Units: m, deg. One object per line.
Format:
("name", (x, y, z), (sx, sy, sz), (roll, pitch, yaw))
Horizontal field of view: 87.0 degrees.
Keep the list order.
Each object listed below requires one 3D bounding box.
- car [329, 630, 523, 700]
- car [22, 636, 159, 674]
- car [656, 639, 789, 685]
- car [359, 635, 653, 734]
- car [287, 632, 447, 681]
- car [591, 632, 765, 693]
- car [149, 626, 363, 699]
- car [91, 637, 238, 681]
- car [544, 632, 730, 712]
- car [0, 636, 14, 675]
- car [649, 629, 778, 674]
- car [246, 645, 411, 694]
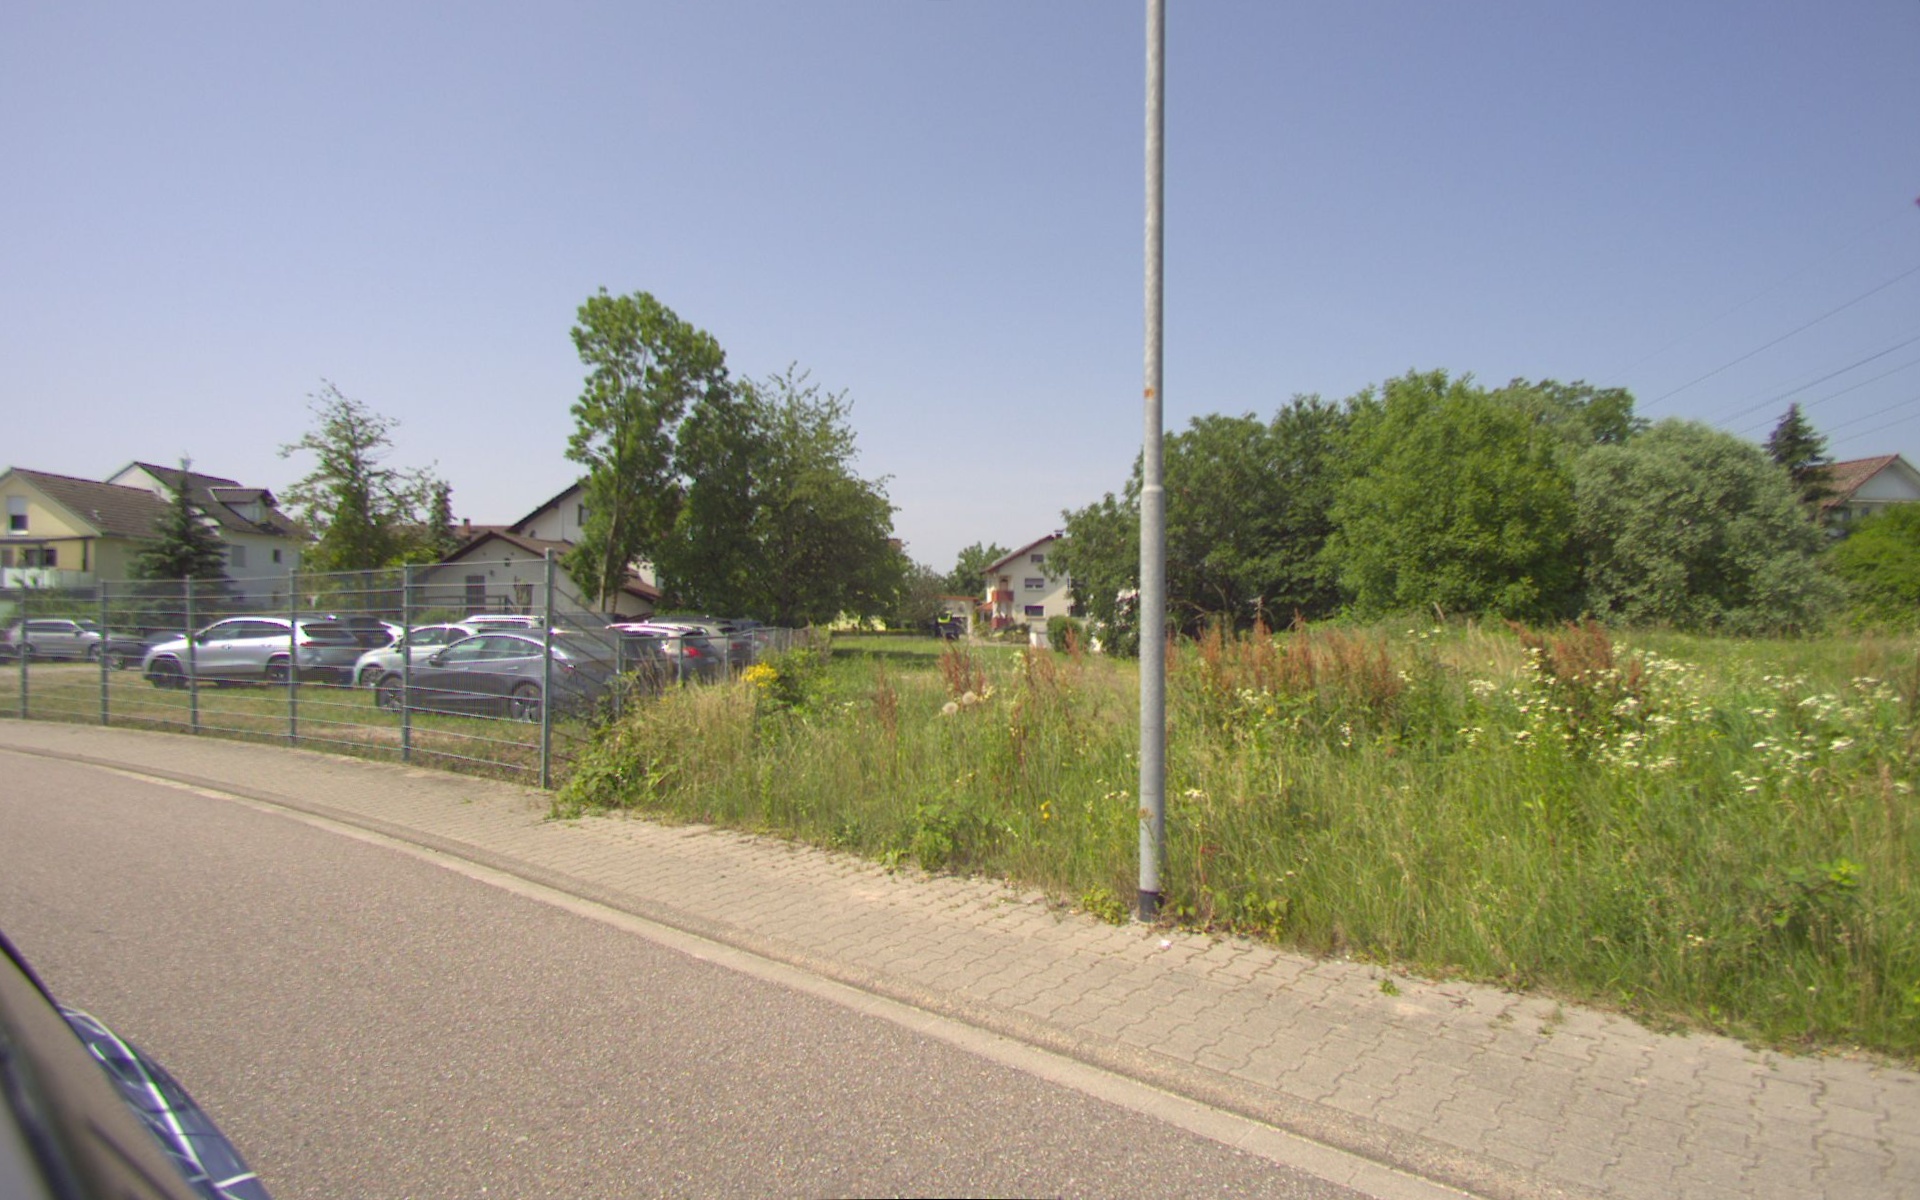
("car", (-11.519, 1.386, 21.973), (3.415, 1.430, 1.581), (0, -2, 2))
("car", (-35.391, 2.226, 41.270), (3.943, 1.510, 1.861), (0, -2, 0))
("car", (-7.342, 1.920, 31.450), (3.696, 1.326, 1.819), (0, -1, 2))
("car", (-6.991, 1.226, 15.539), (4.375, 1.344, 1.570), (-1, -2, 23))
("car", (-18.834, 1.773, 32.253), (3.946, 1.510, 1.999), (0, -2, 2))
("car", (-7.230, 1.594, 26.232), (3.946, 1.510, 1.999), (0, -2, 2))
("car", (-15.229, 1.335, 21.998), (3.597, 1.501, 1.581), (0, -2, 2))
("car", (-25.528, 1.873, 32.552), (3.363, 1.326, 1.819), (0, -1, 2))
("car", (-6.722, 1.487, 21.278), (3.415, 1.596, 1.581), (0, -2, 2))
("car", (-38.367, 2.110, 38.218), (3.634, 1.475, 1.819), (0, -1, 2))
("car", (-8.407, 1.748, 34.736), (3.946, 1.510, 1.999), (0, -2, 2))
("car", (-17.328, 1.899, 27.848), (3.597, 1.256, 1.581), (0, -2, 2))
